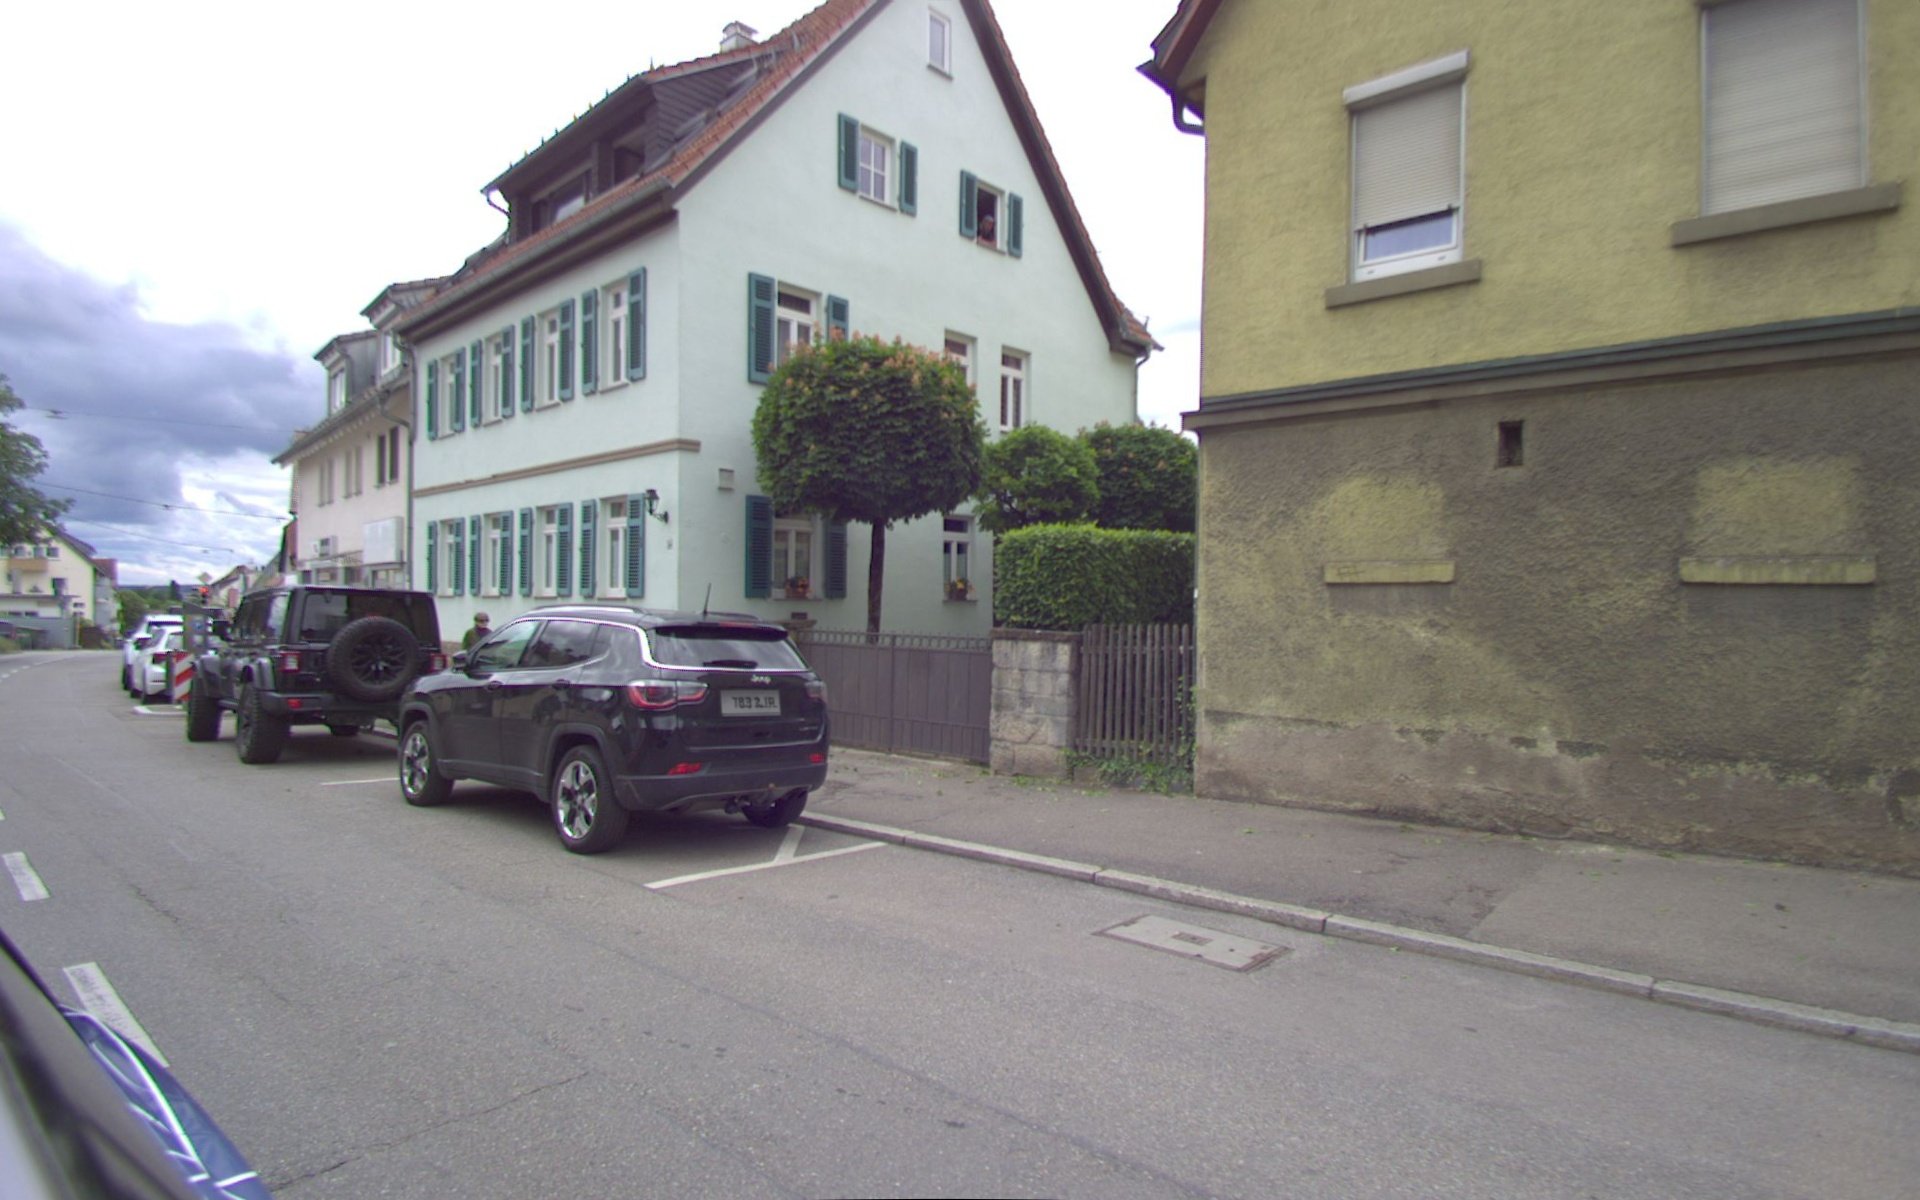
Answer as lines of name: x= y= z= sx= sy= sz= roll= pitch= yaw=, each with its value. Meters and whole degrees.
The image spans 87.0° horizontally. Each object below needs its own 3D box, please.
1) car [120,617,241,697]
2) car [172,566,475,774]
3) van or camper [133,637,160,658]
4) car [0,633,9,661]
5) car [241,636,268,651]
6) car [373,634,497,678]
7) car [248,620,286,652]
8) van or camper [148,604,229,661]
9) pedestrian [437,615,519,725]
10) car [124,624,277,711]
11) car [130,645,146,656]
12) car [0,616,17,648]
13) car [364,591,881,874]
car: x=-18.283 y=1.249 z=23.647 sx=1.973 sy=1.645 sz=4.865 roll=0 pitch=-1 yaw=-41
car: x=-7.813 y=0.782 z=12.220 sx=4.672 sy=2.029 sz=1.971 roll=-2 pitch=-4 yaw=44
van or camper: x=-85.560 y=5.034 z=106.379 sx=1.969 sy=2.029 sz=5.071 roll=-2 pitch=-1 yaw=-41
car: x=-51.819 y=2.380 z=51.630 sx=1.997 sy=1.456 sz=4.509 roll=-2 pitch=-4 yaw=38
car: x=-71.985 y=4.449 z=103.270 sx=1.814 sy=1.456 sz=4.475 roll=4 pitch=-5 yaw=-40
car: x=-19.228 y=2.021 z=37.101 sx=3.931 sy=1.486 sz=1.747 roll=1 pitch=-1 yaw=-32
car: x=-47.058 y=2.477 z=68.804 sx=1.787 sy=2.021 sz=4.776 roll=3 pitch=-4 yaw=-31
van or camper: x=-29.611 y=1.209 z=38.986 sx=2.045 sy=2.021 sz=4.871 roll=3 pitch=-2 yaw=-33
pedestrian: x=-7.058 y=0.991 z=14.820 sx=0.796 sy=1.511 sz=0.976 roll=-1 pitch=0 yaw=-44
car: x=-14.654 y=1.210 z=19.449 sx=1.974 sy=1.447 sz=3.922 roll=0 pitch=-1 yaw=-43
car: x=-114.484 y=7.069 z=140.978 sx=1.589 sy=1.466 sz=3.865 roll=-1 pitch=-1 yaw=-40
car: x=-56.515 y=1.892 z=59.132 sx=1.724 sy=1.753 sz=4.579 roll=3 pitch=-5 yaw=-40
car: x=-2.876 y=0.878 z=8.069 sx=4.522 sy=1.631 sz=1.877 roll=-3 pitch=-4 yaw=41
